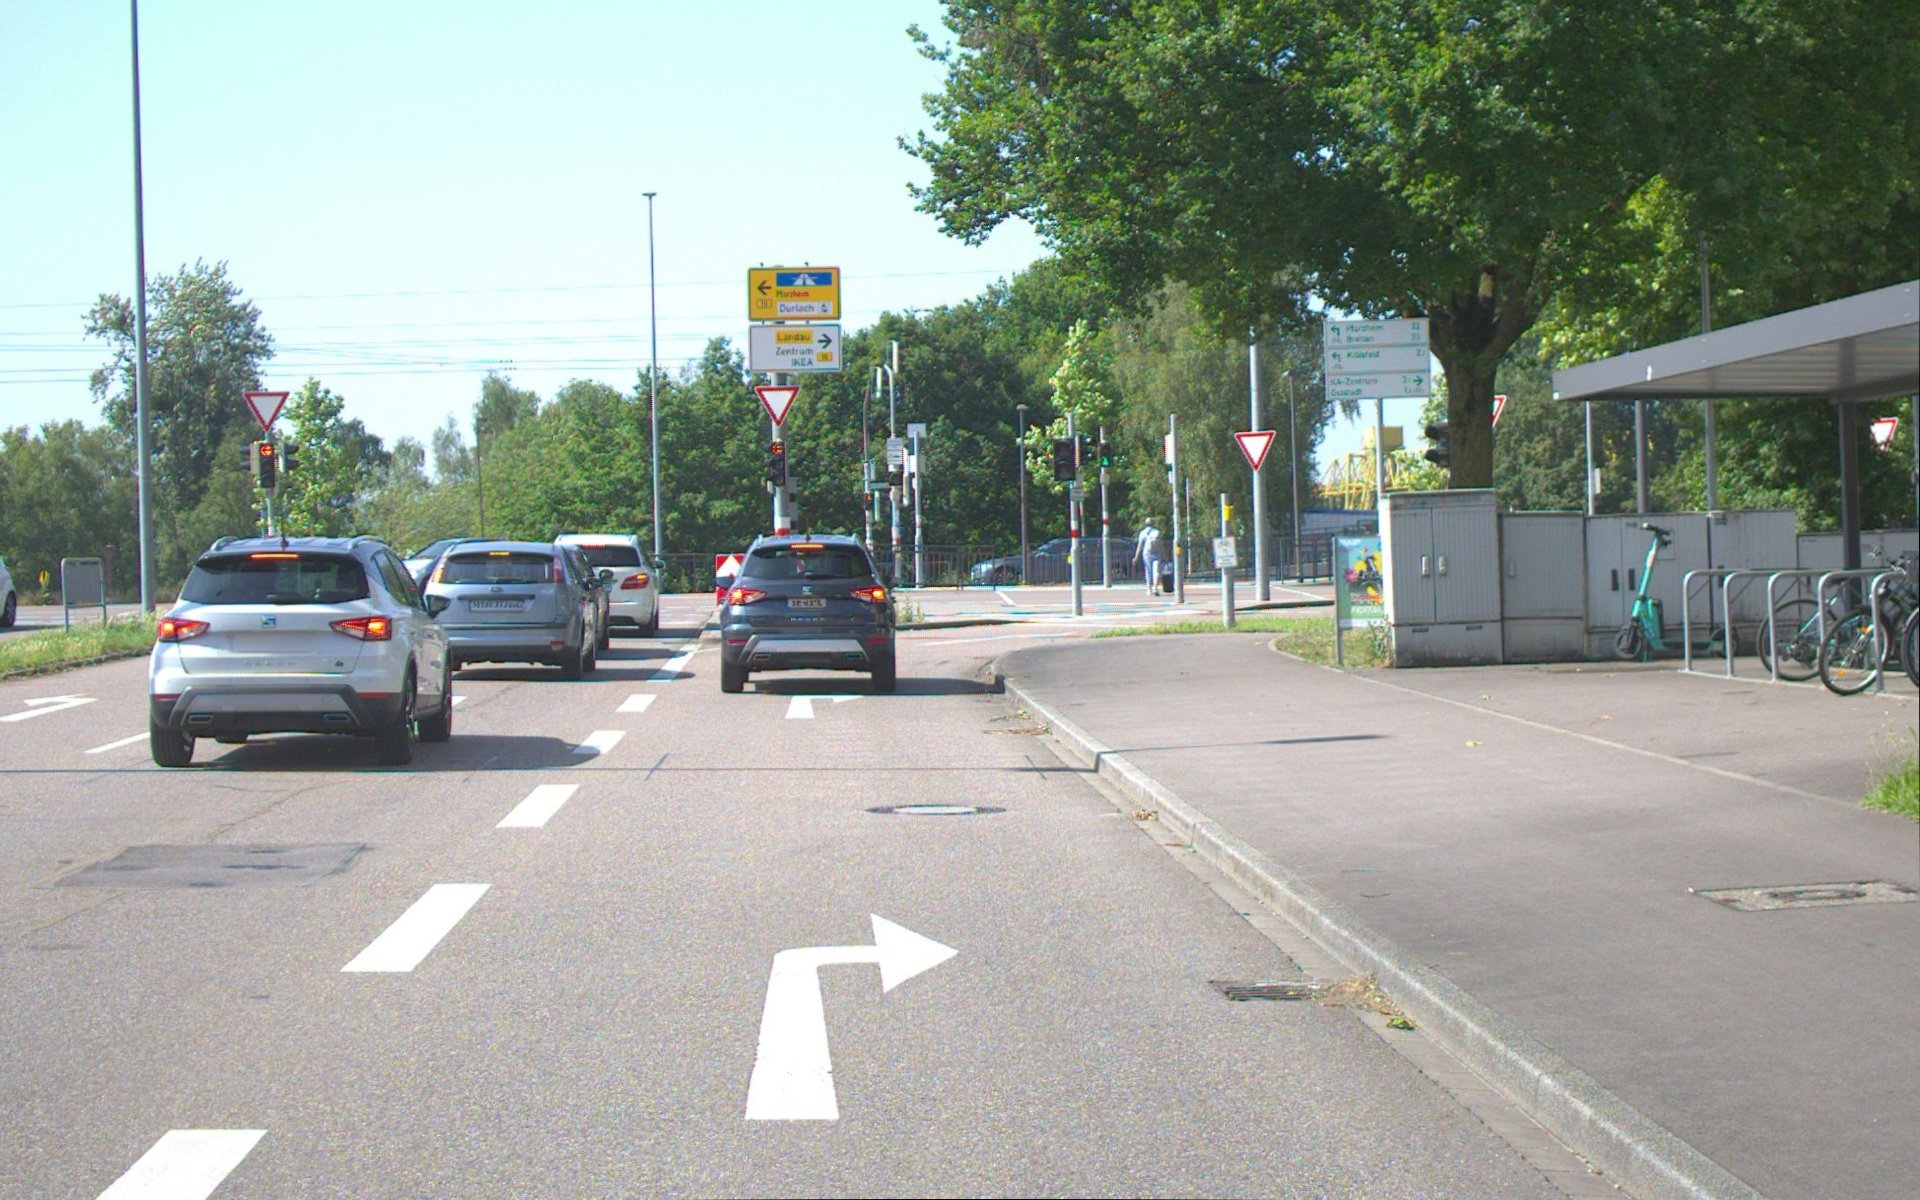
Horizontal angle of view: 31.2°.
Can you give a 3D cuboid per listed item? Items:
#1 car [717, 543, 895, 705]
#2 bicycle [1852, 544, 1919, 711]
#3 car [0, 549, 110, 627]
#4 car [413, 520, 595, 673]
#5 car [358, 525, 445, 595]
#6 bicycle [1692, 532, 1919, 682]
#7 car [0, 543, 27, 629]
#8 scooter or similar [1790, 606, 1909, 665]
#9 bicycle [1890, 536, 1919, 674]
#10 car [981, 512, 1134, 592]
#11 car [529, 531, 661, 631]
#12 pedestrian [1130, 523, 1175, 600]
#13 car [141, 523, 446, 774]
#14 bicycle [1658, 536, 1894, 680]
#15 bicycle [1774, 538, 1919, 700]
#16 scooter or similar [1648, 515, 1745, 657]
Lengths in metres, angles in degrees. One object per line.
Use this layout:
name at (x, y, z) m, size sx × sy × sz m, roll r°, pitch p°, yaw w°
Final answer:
car at (-1.509, 0.201, 34.334) m, size 1.670 × 1.518 × 3.377 m, roll -1°, pitch 1°, yaw -2°
bicycle at (6.939, 0.157, 23.074) m, size 1.758 × 1.092 × 0.452 m, roll -2°, pitch 1°, yaw -2°
car at (-12.540, -0.174, 47.216) m, size 1.117 × 1.000 × 2.492 m, roll -2°, pitch 1°, yaw -1°
car at (-4.989, -0.081, 38.036) m, size 1.706 × 1.568 × 4.175 m, roll -1°, pitch 1°, yaw -4°
car at (-14.042, -1.018, 86.563) m, size 1.627 × 1.619 × 3.917 m, roll -1°, pitch 2°, yaw -2°
bicycle at (6.621, 0.051, 26.655) m, size 1.758 × 1.092 × 0.452 m, roll -2°, pitch 1°, yaw -2°
car at (-18.063, -0.227, 60.880) m, size 1.794 × 1.541 × 4.086 m, roll -1°, pitch 1°, yaw 3°
scooter or similar at (7.663, 0.301, 29.590) m, size 0.917 × 0.450 × 0.960 m, roll -3°, pitch 0°, yaw 18°
bicycle at (8.487, 0.011, 27.852) m, size 1.758 × 1.092 × 0.452 m, roll -2°, pitch 1°, yaw -2°
car at (2.613, -1.282, 92.557) m, size 3.987 × 2.007 × 2.000 m, roll -1°, pitch 0°, yaw -1°
car at (-5.571, -0.323, 52.877) m, size 1.741 × 1.443 × 4.389 m, roll -1°, pitch 1°, yaw -2°
pedestrian at (3.897, -0.789, 69.485) m, size 0.773 × 1.505 × 1.007 m, roll -1°, pitch 2°, yaw 9°
car at (-4.597, 0.272, 24.176) m, size 1.630 × 1.493 × 3.871 m, roll -1°, pitch 3°, yaw -4°
bicycle at (6.557, 0.061, 27.654) m, size 1.758 × 1.092 × 0.452 m, roll -2°, pitch 1°, yaw -2°
bicycle at (6.686, 0.114, 24.234) m, size 1.758 × 1.092 × 0.452 m, roll -2°, pitch 1°, yaw -2°
scooter or similar at (6.753, -0.133, 31.510) m, size 0.776 × 1.261 × 0.284 m, roll -2°, pitch 1°, yaw -5°
